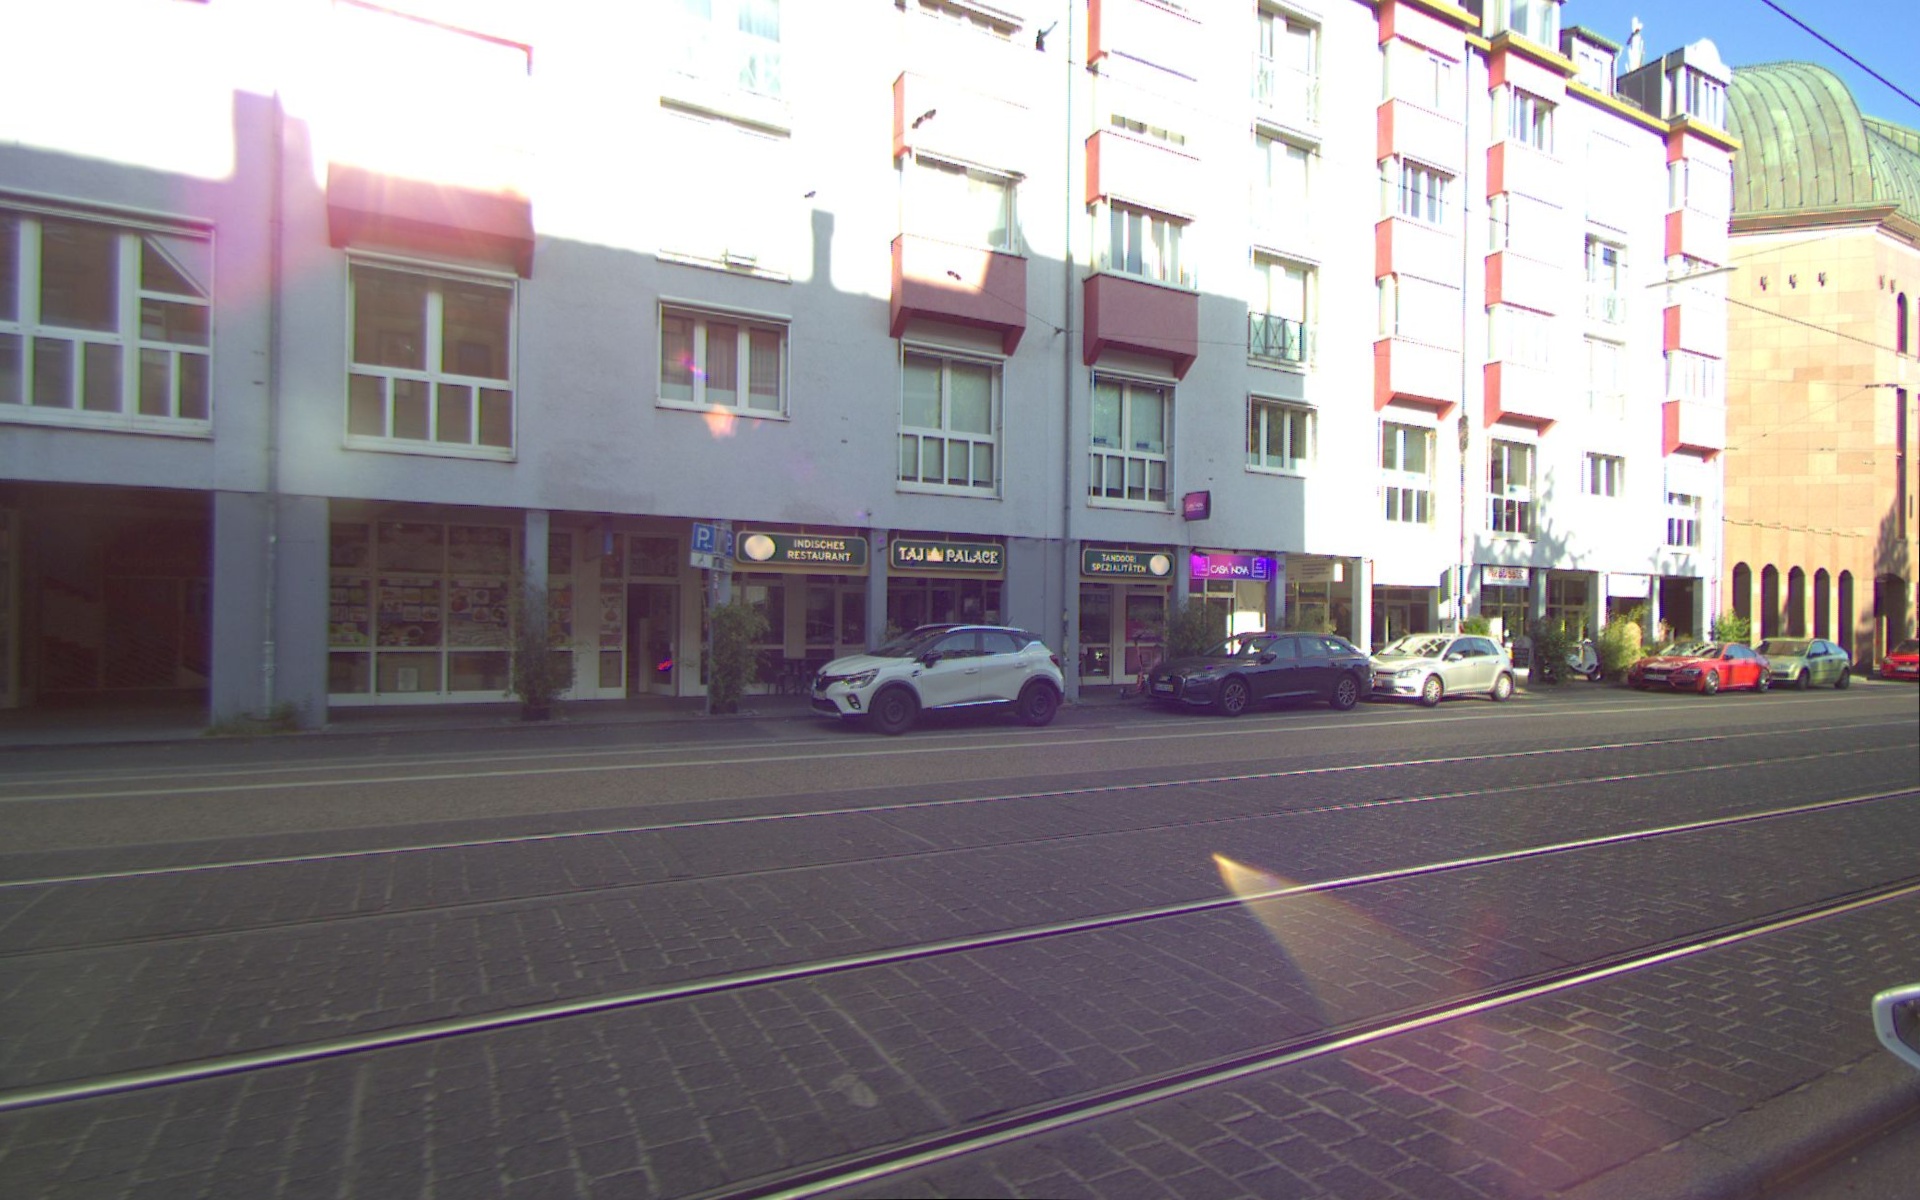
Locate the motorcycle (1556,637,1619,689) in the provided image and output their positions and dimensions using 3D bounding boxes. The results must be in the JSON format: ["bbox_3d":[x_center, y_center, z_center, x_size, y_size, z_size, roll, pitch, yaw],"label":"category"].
[{"bbox_3d":[16.950,1.684,27.125,2.057,1.315,0.516,1,1,-29],"label":"motorcycle"}]

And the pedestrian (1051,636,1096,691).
[{"bbox_3d":[2.539,1.405,22.433,0.771,1.203,0.668,1,-1,-30],"label":"pedestrian"}]

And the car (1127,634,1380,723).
[{"bbox_3d":[5.678,1.415,19.271,4.768,1.477,1.893,1,-1,-29],"label":"car"}]

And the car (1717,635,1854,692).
[{"bbox_3d":[24.278,1.805,29.517,4.237,1.488,1.662,1,1,-29],"label":"car"}]

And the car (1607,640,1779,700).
[{"bbox_3d":[19.737,1.819,26.994,4.763,1.343,1.951,1,0,-30],"label":"car"}]

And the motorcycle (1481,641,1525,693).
[{"bbox_3d":[13.761,1.671,25.423,0.455,1.210,2.069,2,1,43],"label":"motorcycle"}]

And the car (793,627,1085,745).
[{"bbox_3d":[-0.283,1.258,16.055,4.320,1.635,1.908,1,-1,-31],"label":"car"}]

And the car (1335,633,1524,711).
[{"bbox_3d":[10.239,1.495,21.820,4.160,1.494,1.742,1,-1,-31],"label":"car"}]

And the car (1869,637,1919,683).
[{"bbox_3d":[33.043,2.023,34.463,3.575,1.441,1.652,1,1,-29],"label":"car"}]
